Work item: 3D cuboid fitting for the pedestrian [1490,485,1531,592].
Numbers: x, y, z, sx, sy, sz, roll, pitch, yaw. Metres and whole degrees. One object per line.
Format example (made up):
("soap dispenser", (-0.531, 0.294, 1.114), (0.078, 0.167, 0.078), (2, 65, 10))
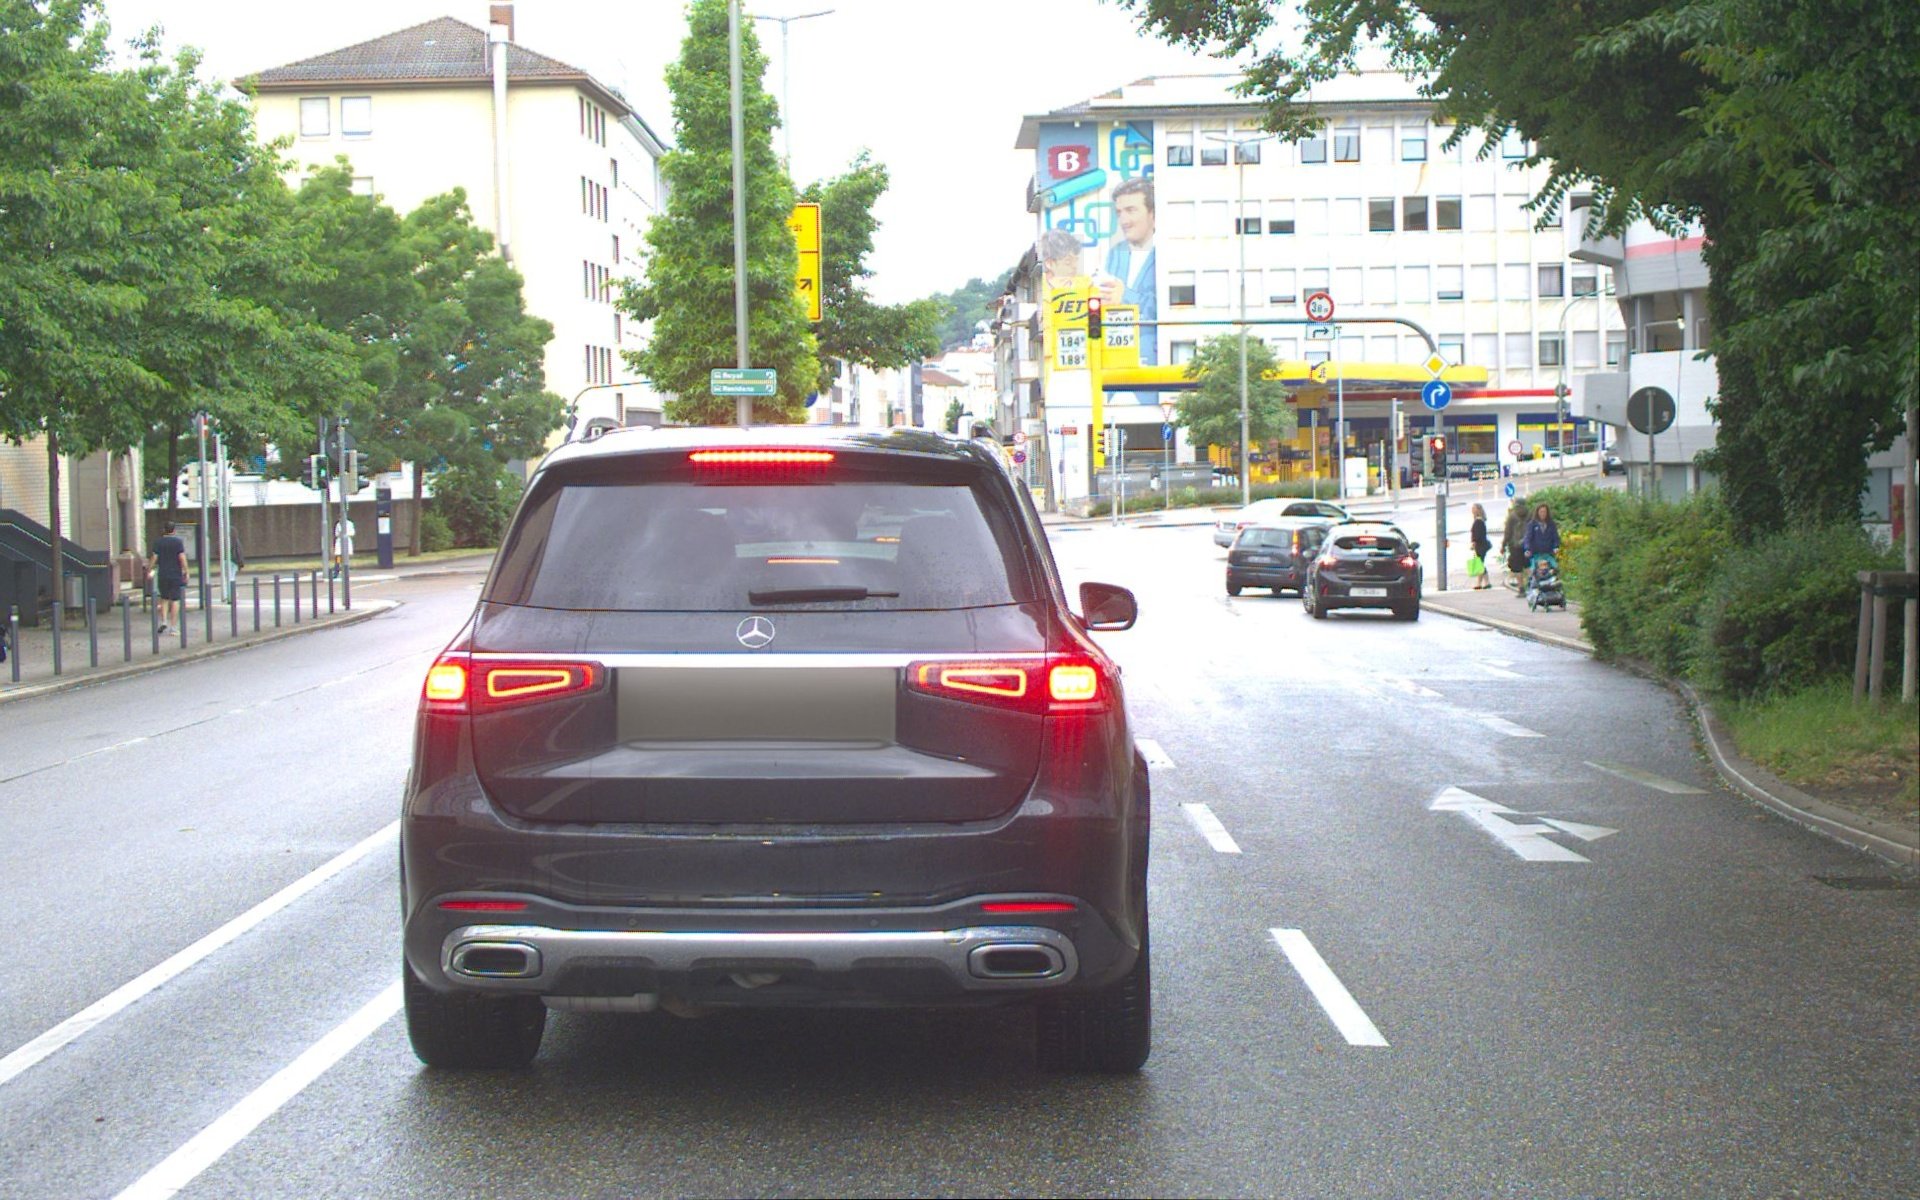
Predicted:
("pedestrian", (10.054, -1.121, 62.755), (0.620, 1.929, 0.610), (1, 0, 0))

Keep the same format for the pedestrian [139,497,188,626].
("pedestrian", (-12.604, -0.607, 54.393), (0.587, 2.007, 0.749), (1, 0, -2))

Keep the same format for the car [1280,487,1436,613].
("car", (6.522, -0.851, 56.698), (1.993, 2.007, 4.001), (0, 2, -2))

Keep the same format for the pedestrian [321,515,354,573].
("pedestrian", (-15.784, -1.425, 87.203), (0.711, 1.457, 0.598), (1, 0, -1))

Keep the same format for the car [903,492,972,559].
("car", (-0.717, -2.287, 107.055), (1.993, 2.007, 4.000), (1, 0, -2))

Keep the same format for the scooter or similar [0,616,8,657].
("scooter or similar", (-12.703, 0.477, 44.965), (0.360, 0.534, 0.499), (1, -1, -1))

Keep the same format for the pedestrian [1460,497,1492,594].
("pedestrian", (10.241, -1.083, 68.296), (0.519, 1.904, 0.556), (1, 0, 0))

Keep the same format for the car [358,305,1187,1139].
("car", (-0.495, 0.281, 10.395), (1.993, 2.007, 4.000), (1, 0, -1))

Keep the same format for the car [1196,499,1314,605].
("car", (5.788, -0.935, 67.895), (1.993, 2.007, 4.000), (1, 0, 1))

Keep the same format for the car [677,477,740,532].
("car", (-9.049, -3.432, 124.025), (1.993, 1.868, 5.142), (1, 1, -2))

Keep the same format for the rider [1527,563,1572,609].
("rider", (9.639, -0.223, 56.217), (0.694, 0.737, 0.632), (1, 0, 8))

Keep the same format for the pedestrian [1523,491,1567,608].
("pedestrian", (9.688, -0.840, 56.960), (0.662, 1.911, 0.728), (1, 0, 7))

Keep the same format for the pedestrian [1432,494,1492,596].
("pedestrian", (10.086, -1.108, 69.111), (1.025, 2.007, 0.999), (1, 1, -1))

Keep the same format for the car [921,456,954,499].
("car", (-1.392, -7.605, 213.598), (1.993, 2.005, 4.004), (1, 12, -1))

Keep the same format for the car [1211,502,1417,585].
("car", (8.859, -1.437, 86.259), (4.803, 2.006, 2.001), (-1, 2, -7))
